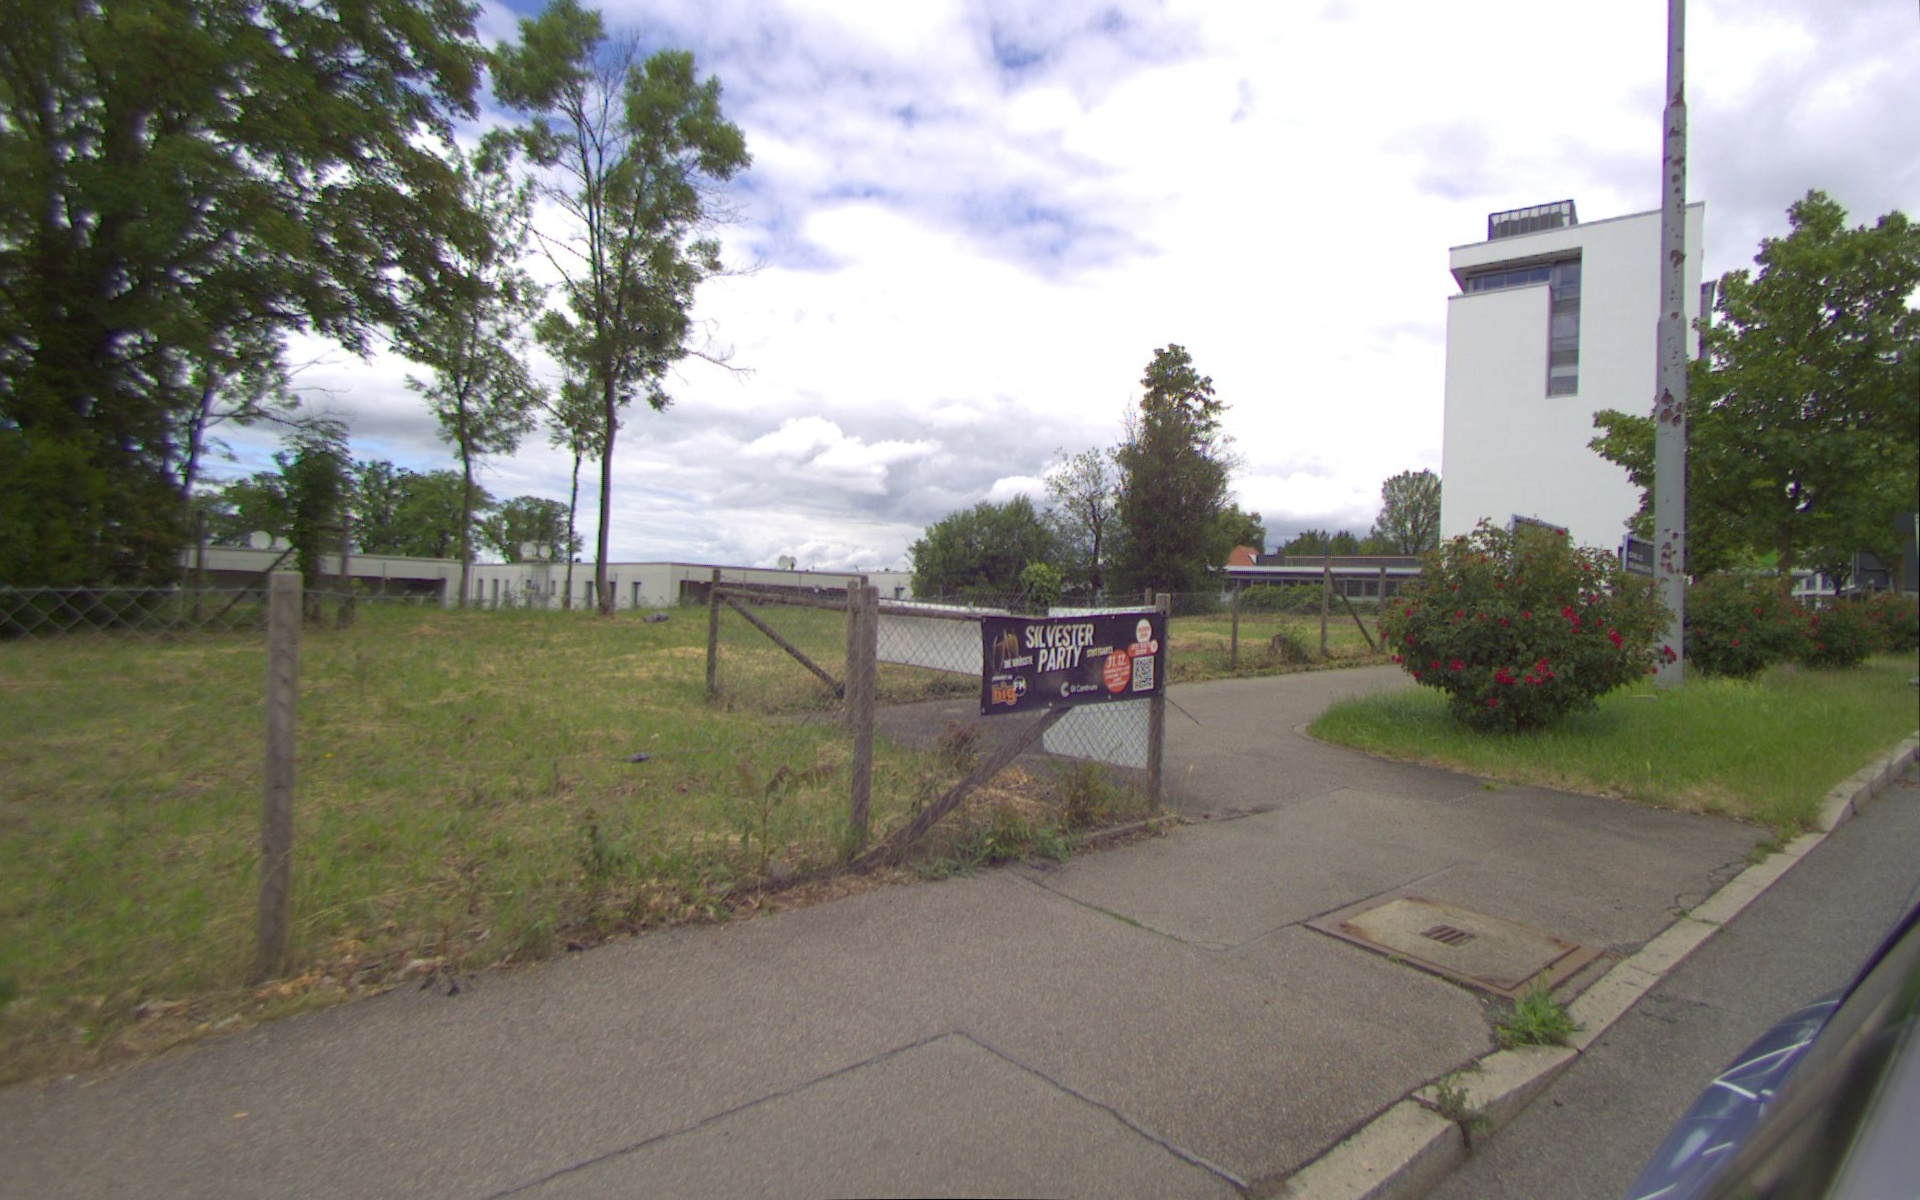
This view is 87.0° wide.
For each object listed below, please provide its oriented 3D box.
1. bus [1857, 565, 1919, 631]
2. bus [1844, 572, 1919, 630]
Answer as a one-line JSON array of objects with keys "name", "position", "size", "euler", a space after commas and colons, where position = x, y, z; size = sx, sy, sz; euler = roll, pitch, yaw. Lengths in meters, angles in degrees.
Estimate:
[{"name": "bus", "position": [51.524, -0.024, 55.395], "size": [2.708, 3.202, 9.002], "euler": [6, 3, 37]}, {"name": "bus", "position": [56.930, 0.112, 62.471], "size": [2.709, 3.146, 8.747], "euler": [7, 3, 38]}]
